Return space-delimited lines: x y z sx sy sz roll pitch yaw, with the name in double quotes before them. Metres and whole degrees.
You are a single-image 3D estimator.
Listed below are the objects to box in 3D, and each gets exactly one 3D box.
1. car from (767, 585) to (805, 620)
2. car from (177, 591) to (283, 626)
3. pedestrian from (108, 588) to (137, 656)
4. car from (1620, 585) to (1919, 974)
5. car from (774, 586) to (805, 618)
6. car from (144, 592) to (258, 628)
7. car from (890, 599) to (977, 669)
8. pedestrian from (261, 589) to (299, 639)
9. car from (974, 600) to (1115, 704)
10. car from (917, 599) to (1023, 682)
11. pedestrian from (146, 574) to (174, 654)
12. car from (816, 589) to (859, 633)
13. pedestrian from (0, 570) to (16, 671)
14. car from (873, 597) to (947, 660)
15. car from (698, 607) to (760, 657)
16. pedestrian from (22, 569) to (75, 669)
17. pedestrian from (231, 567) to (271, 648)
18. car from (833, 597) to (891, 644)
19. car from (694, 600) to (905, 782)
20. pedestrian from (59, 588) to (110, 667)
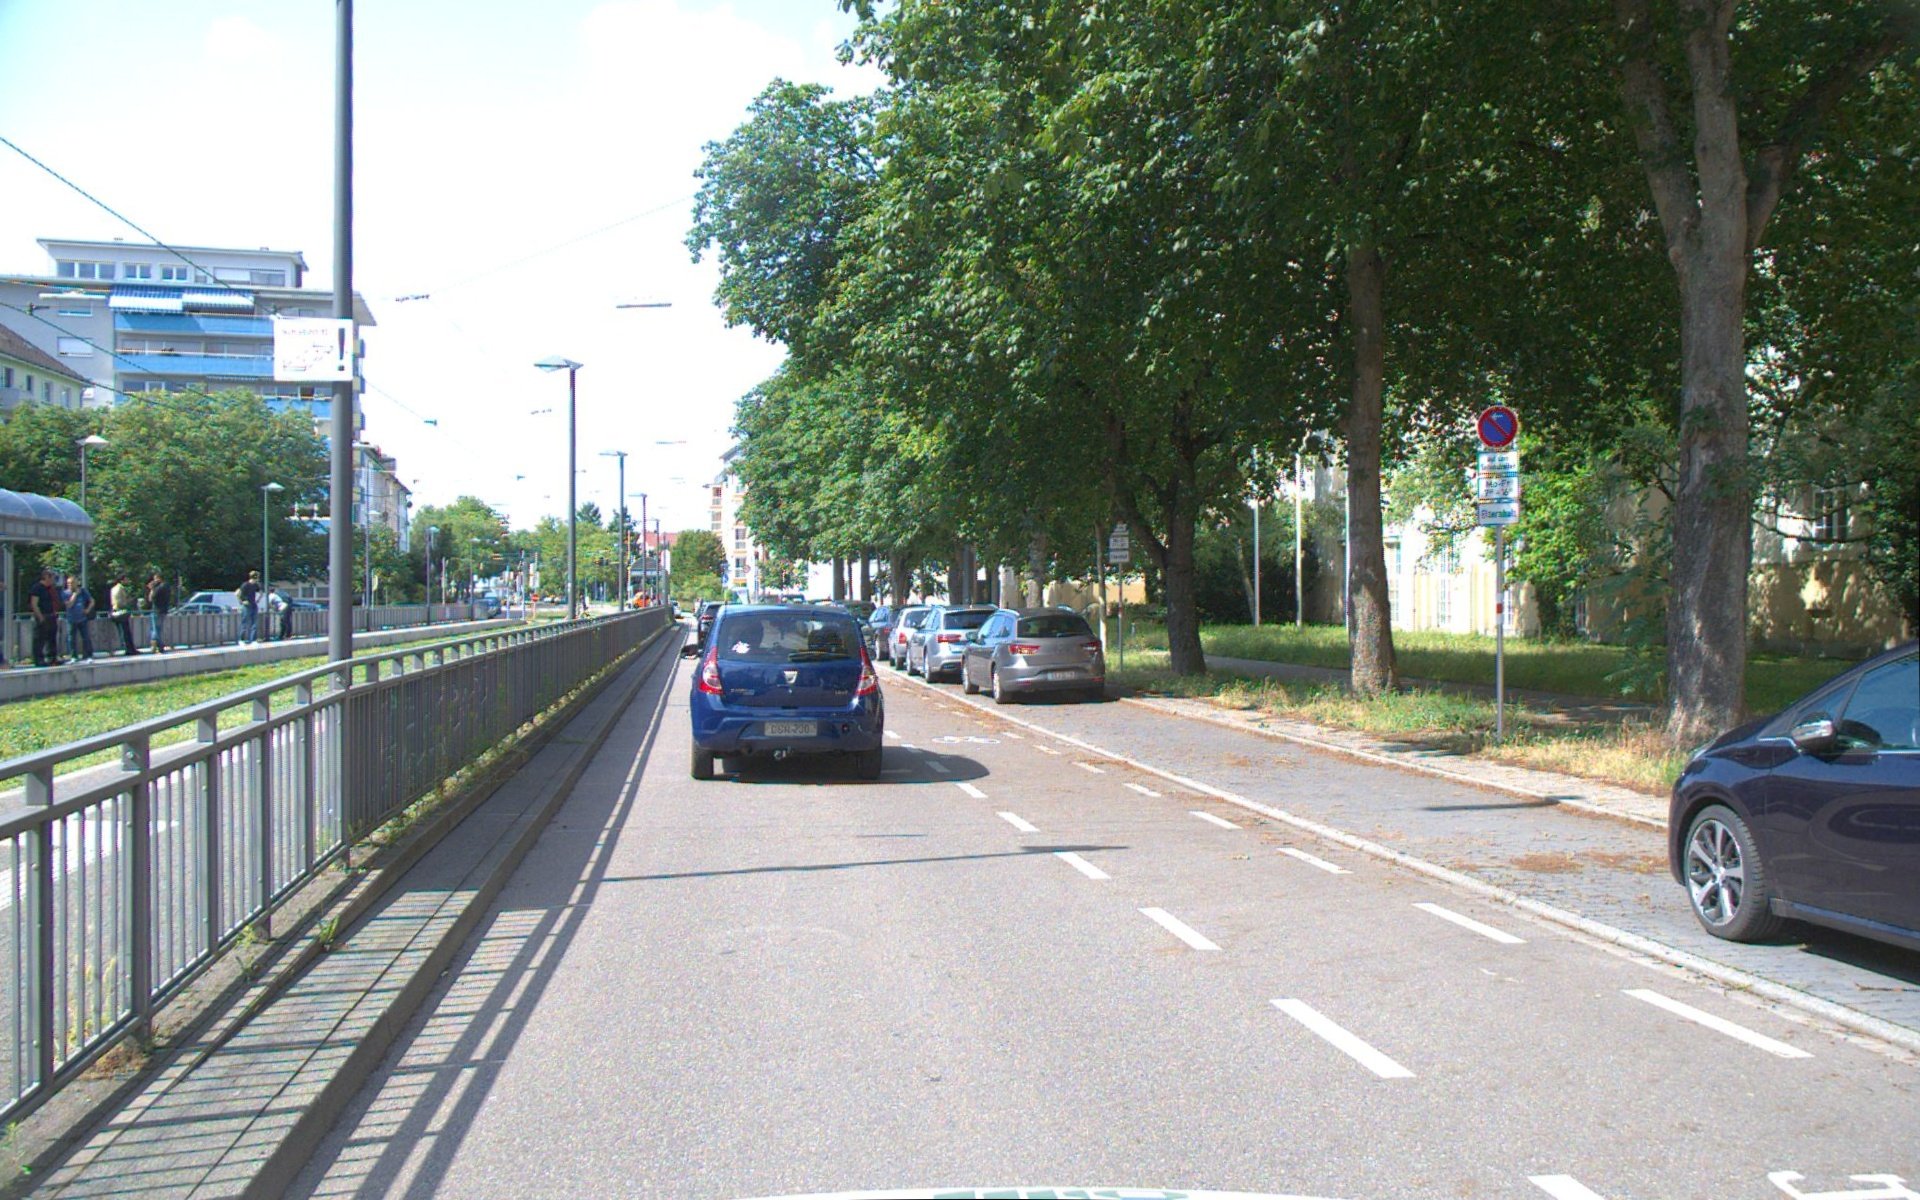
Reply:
"car" -9.239 0.129 88.119 1.794 1.792 3.998 0 0 -3
"car" -32.140 0.349 72.845 3.968 1.472 1.701 -1 0 -43
"pedestrian" -18.585 0.489 36.713 0.480 1.477 0.461 -1 0 -18
"car" 4.484 0.675 6.517 1.733 1.458 3.896 -1 0 -9
"car" -9.689 0.105 94.180 1.635 1.803 3.996 0 0 -5
"car" -31.042 0.399 67.705 1.607 1.410 3.985 0 0 36
"car" -0.662 0.748 38.504 1.824 1.470 3.998 -2 0 -3
"pedestrian" -20.607 0.427 50.116 1.015 1.463 0.698 -2 1 -23
"car" 1.291 0.776 26.888 1.824 1.470 3.998 -2 0 -3
"car" 0.137 0.750 32.953 1.824 1.470 3.998 -2 0 -3
"pedestrian" -17.749 0.306 36.696 0.480 1.742 0.461 -1 0 -18
"car" -5.187 0.452 69.761 1.587 1.780 3.993 0 0 -8
"pedestrian" -17.069 0.367 29.107 0.582 1.766 0.556 -1 0 -4
"car" -1.349 0.698 43.237 1.815 1.542 3.998 0 0 -3
"car" -7.146 0.978 51.319 1.666 1.391 3.512 0 1 -4
"pedestrian" -16.663 0.340 30.251 0.592 1.797 0.639 0 0 1
"pedestrian" -18.212 0.186 42.493 0.786 2.049 0.662 0 0 -6
"car" -3.277 0.653 55.538 1.824 1.471 3.998 -2 0 -3
"car" -1.553 0.760 15.638 1.734 1.487 3.770 0 0 -7
"pedestrian" -16.365 0.505 30.933 0.642 1.451 0.562 -1 0 29
